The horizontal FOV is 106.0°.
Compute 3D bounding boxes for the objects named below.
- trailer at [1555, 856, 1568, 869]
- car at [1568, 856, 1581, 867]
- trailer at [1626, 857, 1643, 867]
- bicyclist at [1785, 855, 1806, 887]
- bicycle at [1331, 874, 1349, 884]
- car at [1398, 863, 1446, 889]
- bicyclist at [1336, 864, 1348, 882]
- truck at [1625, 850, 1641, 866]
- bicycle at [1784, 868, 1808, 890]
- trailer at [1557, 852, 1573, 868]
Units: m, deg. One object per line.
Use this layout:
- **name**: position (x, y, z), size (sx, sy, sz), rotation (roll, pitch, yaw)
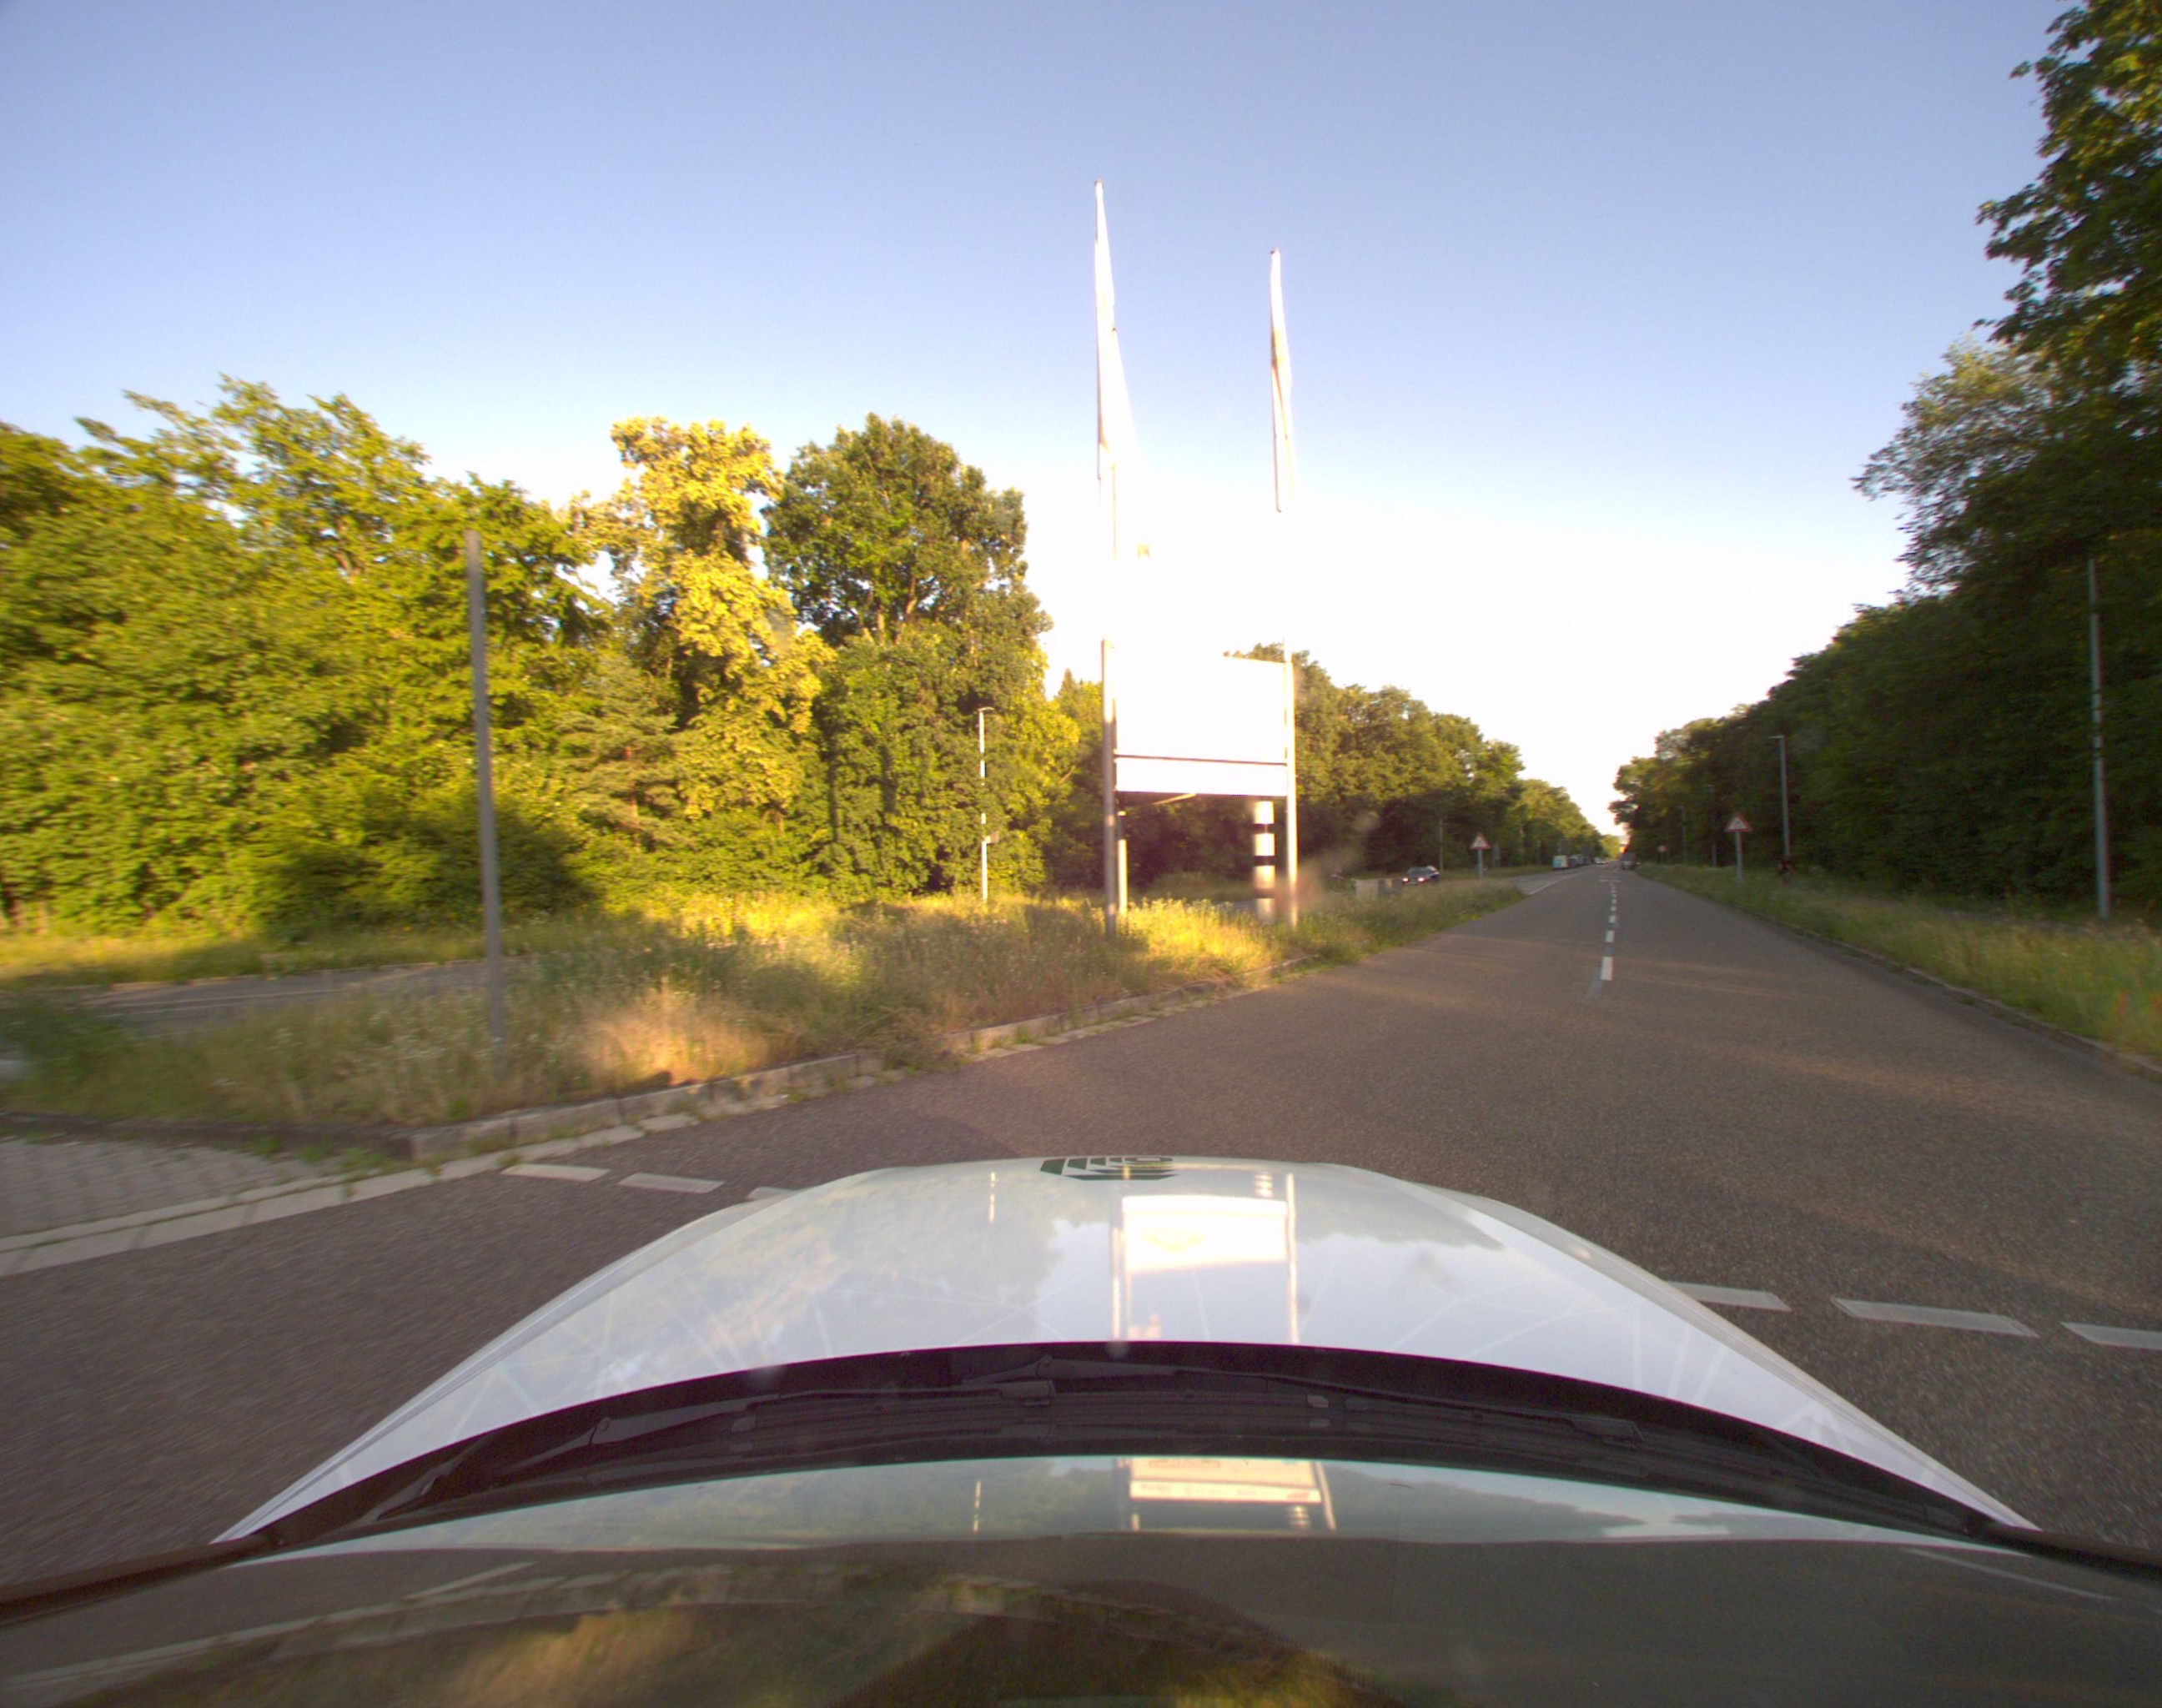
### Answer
- **trailer**: position (86.490, 1.511, 146.593), size (1.799, 2.168, 4.169), rotation (-3, -2, 33)
- **car**: position (110.037, 1.595, 181.617), size (1.974, 2.365, 5.802), rotation (-5, -3, 34)
- **trailer**: position (95.452, 1.451, 140.429), size (3.798, 1.662, 1.443), rotation (0, -2, -43)
- **bicyclist**: position (33.391, 0.789, 38.073), size (0.597, 1.455, 0.785), rotation (-2, -2, 34)
- **bicycle**: position (21.280, 2.049, 66.877), size (0.580, 0.804, 1.970), rotation (-3, -2, 42)
- **car**: position (22.905, 1.460, 54.644), size (1.801, 1.534, 4.483), rotation (-4, -3, 37)
- **bicyclist**: position (21.322, 1.574, 66.608), size (0.580, 1.430, 0.827), rotation (-3, -2, 42)
- **truck**: position (113.521, 0.793, 167.419), size (2.564, 3.255, 7.266), rotation (0, -1, 35)
- **bicycle**: position (33.381, 1.150, 38.035), size (0.605, 0.996, 1.701), rotation (-2, -2, 34)
- **trailer**: position (95.040, 1.245, 159.779), size (2.303, 2.924, 5.662), rotation (-4, -3, 33)
